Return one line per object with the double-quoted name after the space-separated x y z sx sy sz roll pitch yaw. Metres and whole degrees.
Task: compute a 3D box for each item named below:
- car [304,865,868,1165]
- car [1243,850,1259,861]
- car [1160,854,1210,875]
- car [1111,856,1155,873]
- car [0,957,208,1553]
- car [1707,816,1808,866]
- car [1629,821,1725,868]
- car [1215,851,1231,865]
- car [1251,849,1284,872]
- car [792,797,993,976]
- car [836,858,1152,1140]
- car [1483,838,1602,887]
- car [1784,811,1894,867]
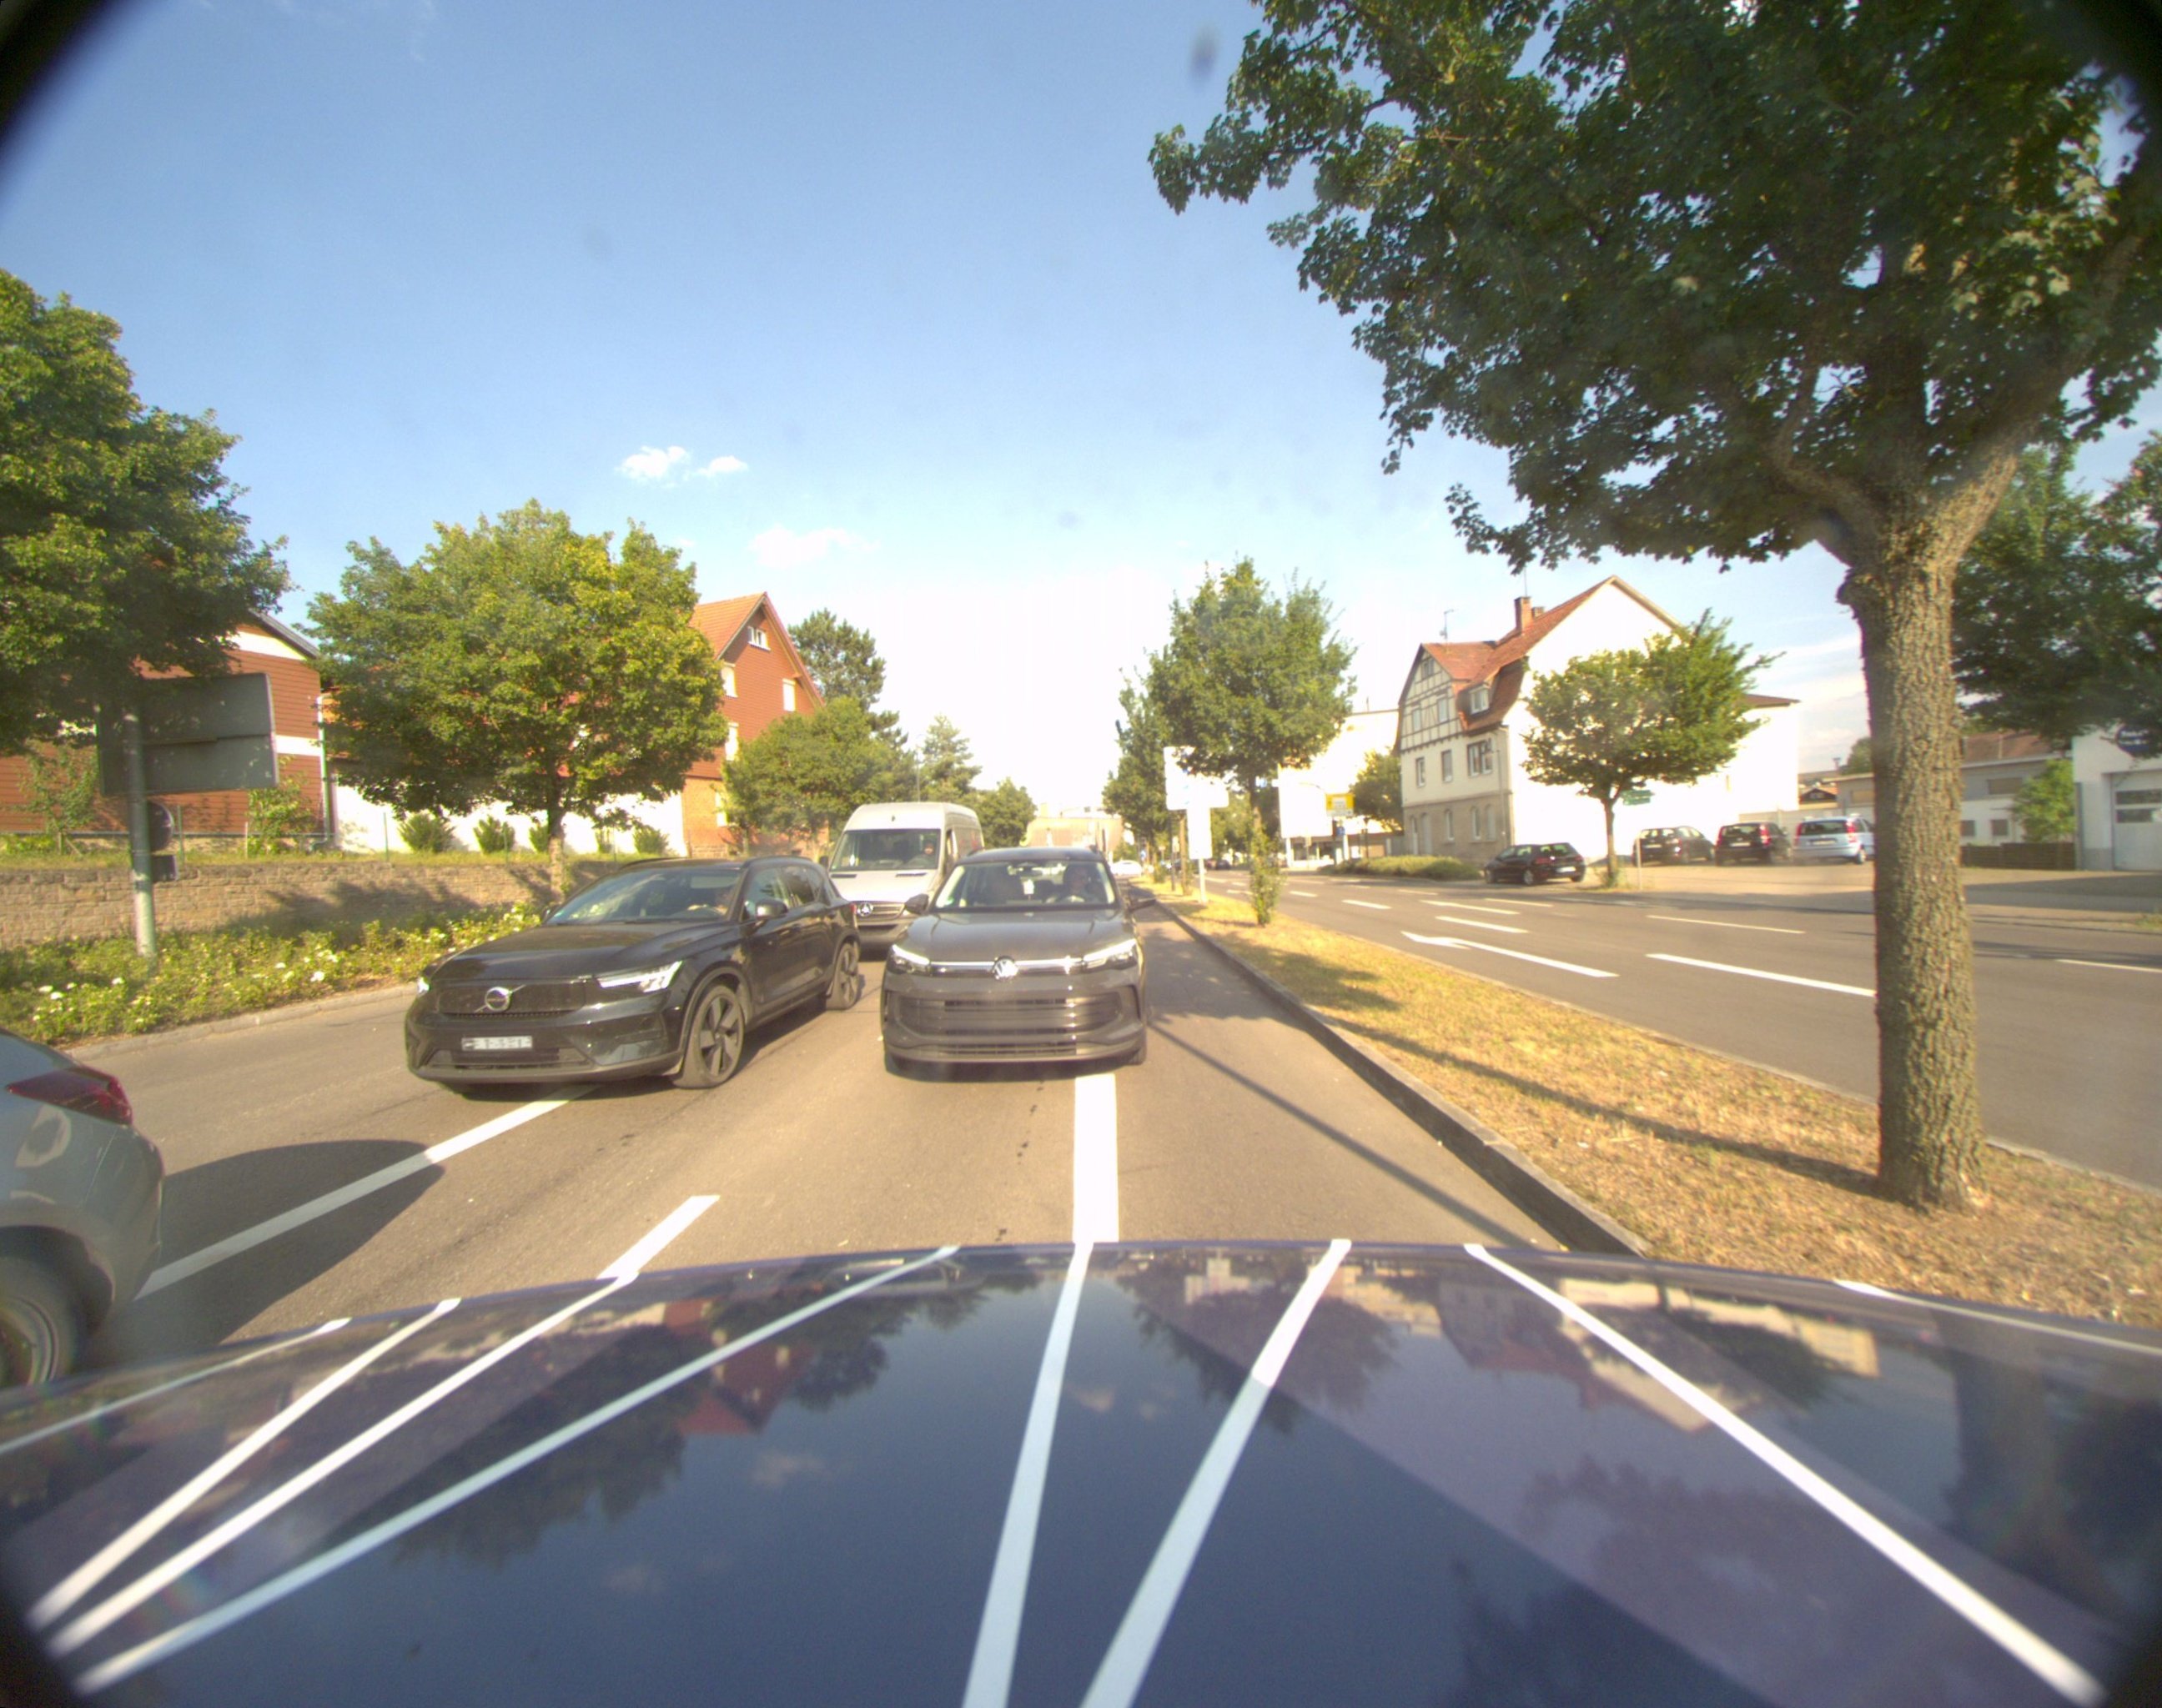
-3.400 0.947 6.446 1.845 1.600 4.318 -1 0 2 "car"
27.153 0.260 121.282 1.779 1.683 4.005 -2 0 20 "car"
9.346 0.928 68.530 4.001 1.664 1.785 -2 1 -12 "car"
5.304 1.056 77.769 4.370 1.460 1.783 -2 0 4 "car"
-3.614 1.061 0.199 1.766 1.445 4.318 -1 0 0 "car"
24.657 -0.493 27.672 3.830 1.493 1.816 -5 0 -35 "car"
23.378 -0.395 29.769 3.830 1.493 1.816 -5 0 -35 "car"
17.854 0.517 95.483 1.780 1.683 4.003 -2 0 13 "car"
14.450 0.481 59.147 1.781 1.683 4.001 -2 0 4 "car"
-3.066 0.451 13.948 1.992 2.554 6.046 -1 0 2 "car"
-0.452 0.873 6.635 1.845 1.600 4.318 -1 0 2 "car"
16.033 0.278 26.635 1.818 1.442 3.825 -5 0 1 "car"
24.879 -0.507 24.906 3.830 1.493 1.816 -5 0 -35 "car"
